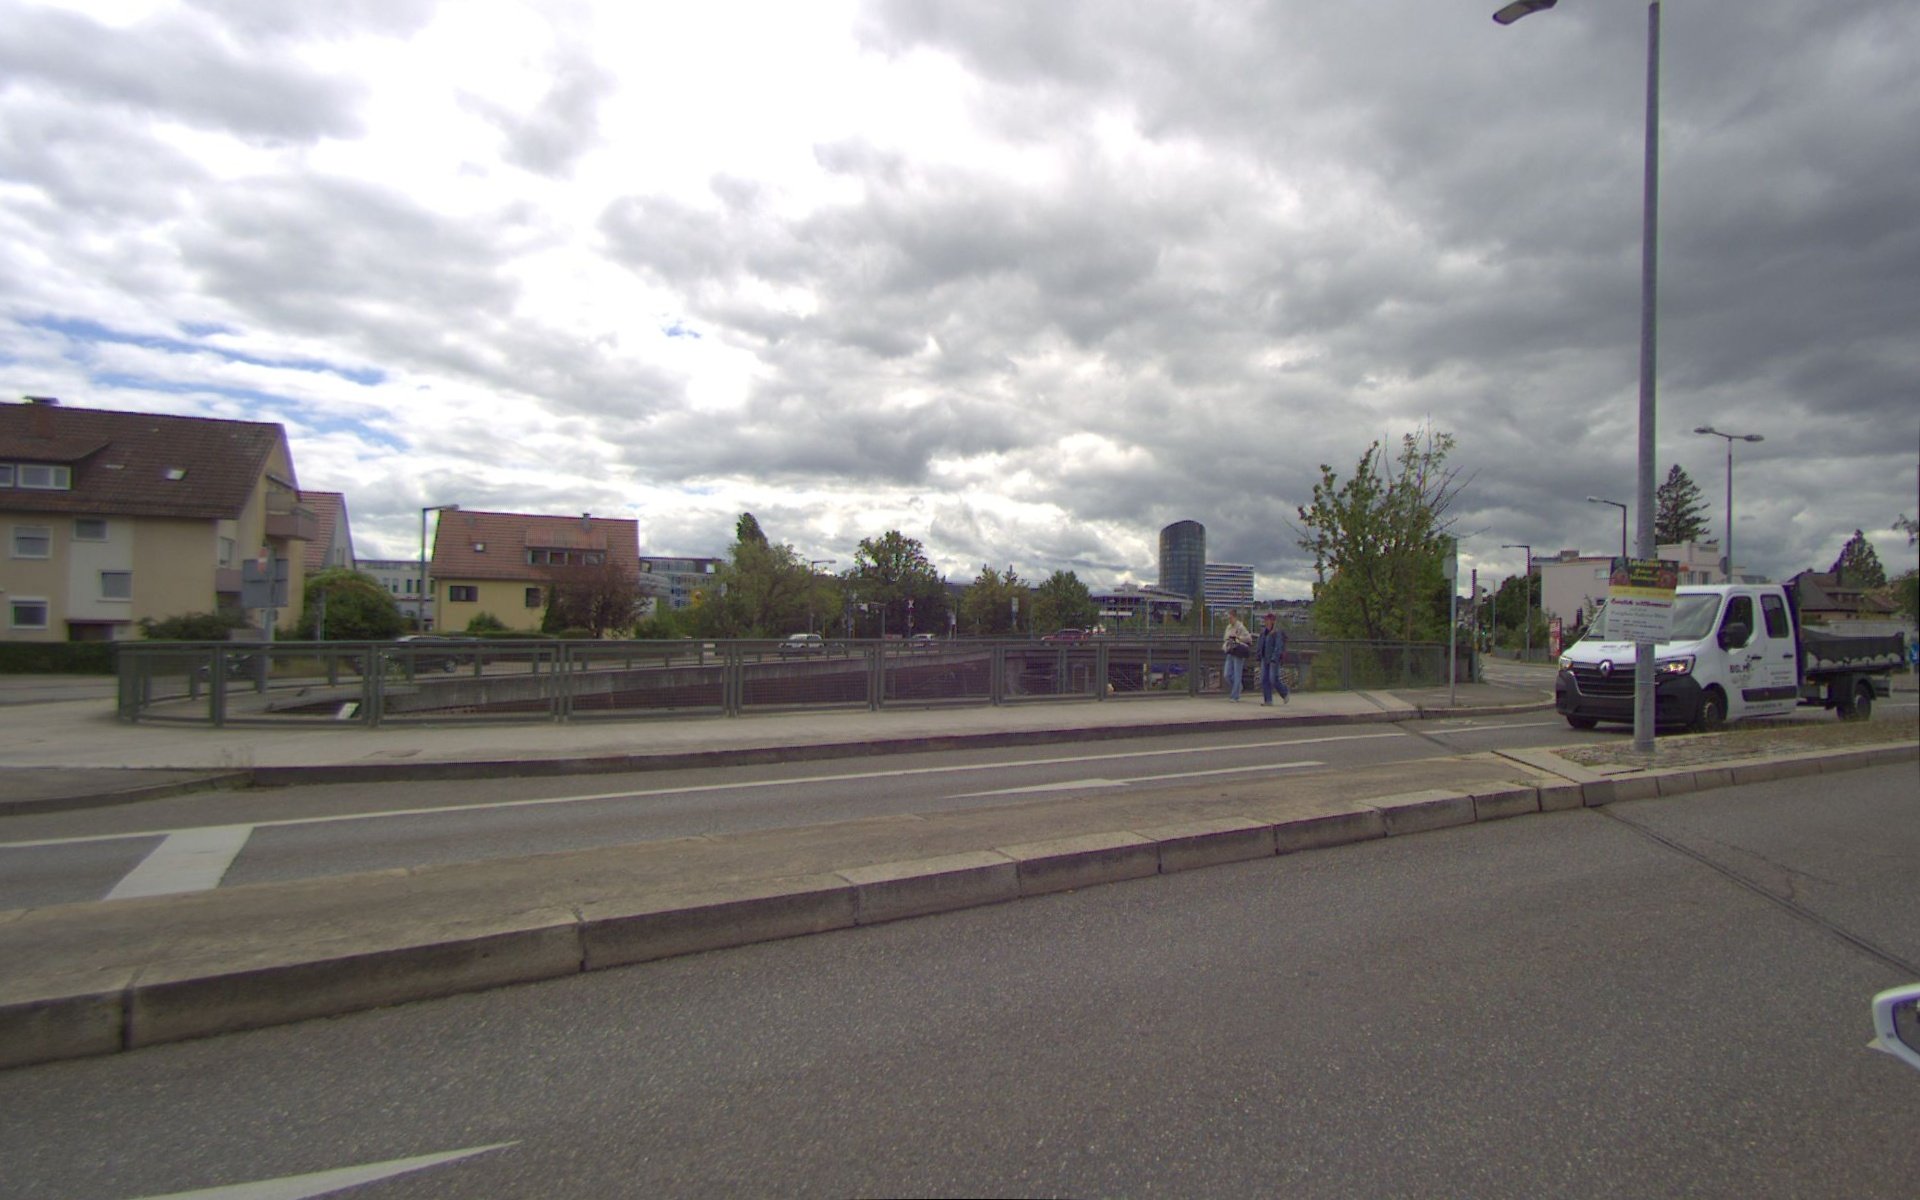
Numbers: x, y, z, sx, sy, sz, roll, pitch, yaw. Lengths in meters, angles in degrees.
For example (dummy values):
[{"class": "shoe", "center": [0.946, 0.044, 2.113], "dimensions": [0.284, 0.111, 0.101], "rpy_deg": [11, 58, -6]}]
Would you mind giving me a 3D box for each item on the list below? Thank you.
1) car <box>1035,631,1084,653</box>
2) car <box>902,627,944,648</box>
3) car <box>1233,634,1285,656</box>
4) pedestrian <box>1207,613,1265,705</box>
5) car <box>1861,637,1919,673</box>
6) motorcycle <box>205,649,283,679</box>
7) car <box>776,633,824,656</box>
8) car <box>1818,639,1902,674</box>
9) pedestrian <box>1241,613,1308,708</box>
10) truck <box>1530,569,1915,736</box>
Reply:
[{"class": "car", "center": [8.723, 3.664, 88.063], "dimensions": [3.921, 1.684, 1.798], "rpy_deg": [2, 1, 19]}, {"class": "car", "center": [-3.537, 3.495, 95.034], "dimensions": [1.724, 1.685, 3.947], "rpy_deg": [1, 2, -44]}, {"class": "car", "center": [24.391, 3.633, 82.097], "dimensions": [3.919, 1.592, 1.893], "rpy_deg": [1, 0, 11]}, {"class": "pedestrian", "center": [5.136, 1.087, 18.701], "dimensions": [0.825, 1.655, 0.651], "rpy_deg": [1, 0, -38]}, {"class": "car", "center": [57.207, 3.321, 60.837], "dimensions": [3.931, 2.040, 1.995], "rpy_deg": [2, 1, -13]}, {"class": "motorcycle", "center": [-25.288, 2.269, 35.518], "dimensions": [2.085, 1.012, 0.702], "rpy_deg": [1, -6, -13]}, {"class": "car", "center": [-11.830, 3.315, 74.643], "dimensions": [1.862, 1.628, 4.379], "rpy_deg": [0, -2, 15]}, {"class": "car", "center": [56.742, 3.568, 63.360], "dimensions": [3.931, 2.040, 1.995], "rpy_deg": [2, 1, -13]}, {"class": "pedestrian", "center": [5.704, 1.076, 18.194], "dimensions": [1.061, 1.655, 0.651], "rpy_deg": [2, 0, -38]}, {"class": "truck", "center": [12.433, 0.826, 16.261], "dimensions": [6.714, 2.294, 2.119], "rpy_deg": [1, -2, -25]}]
